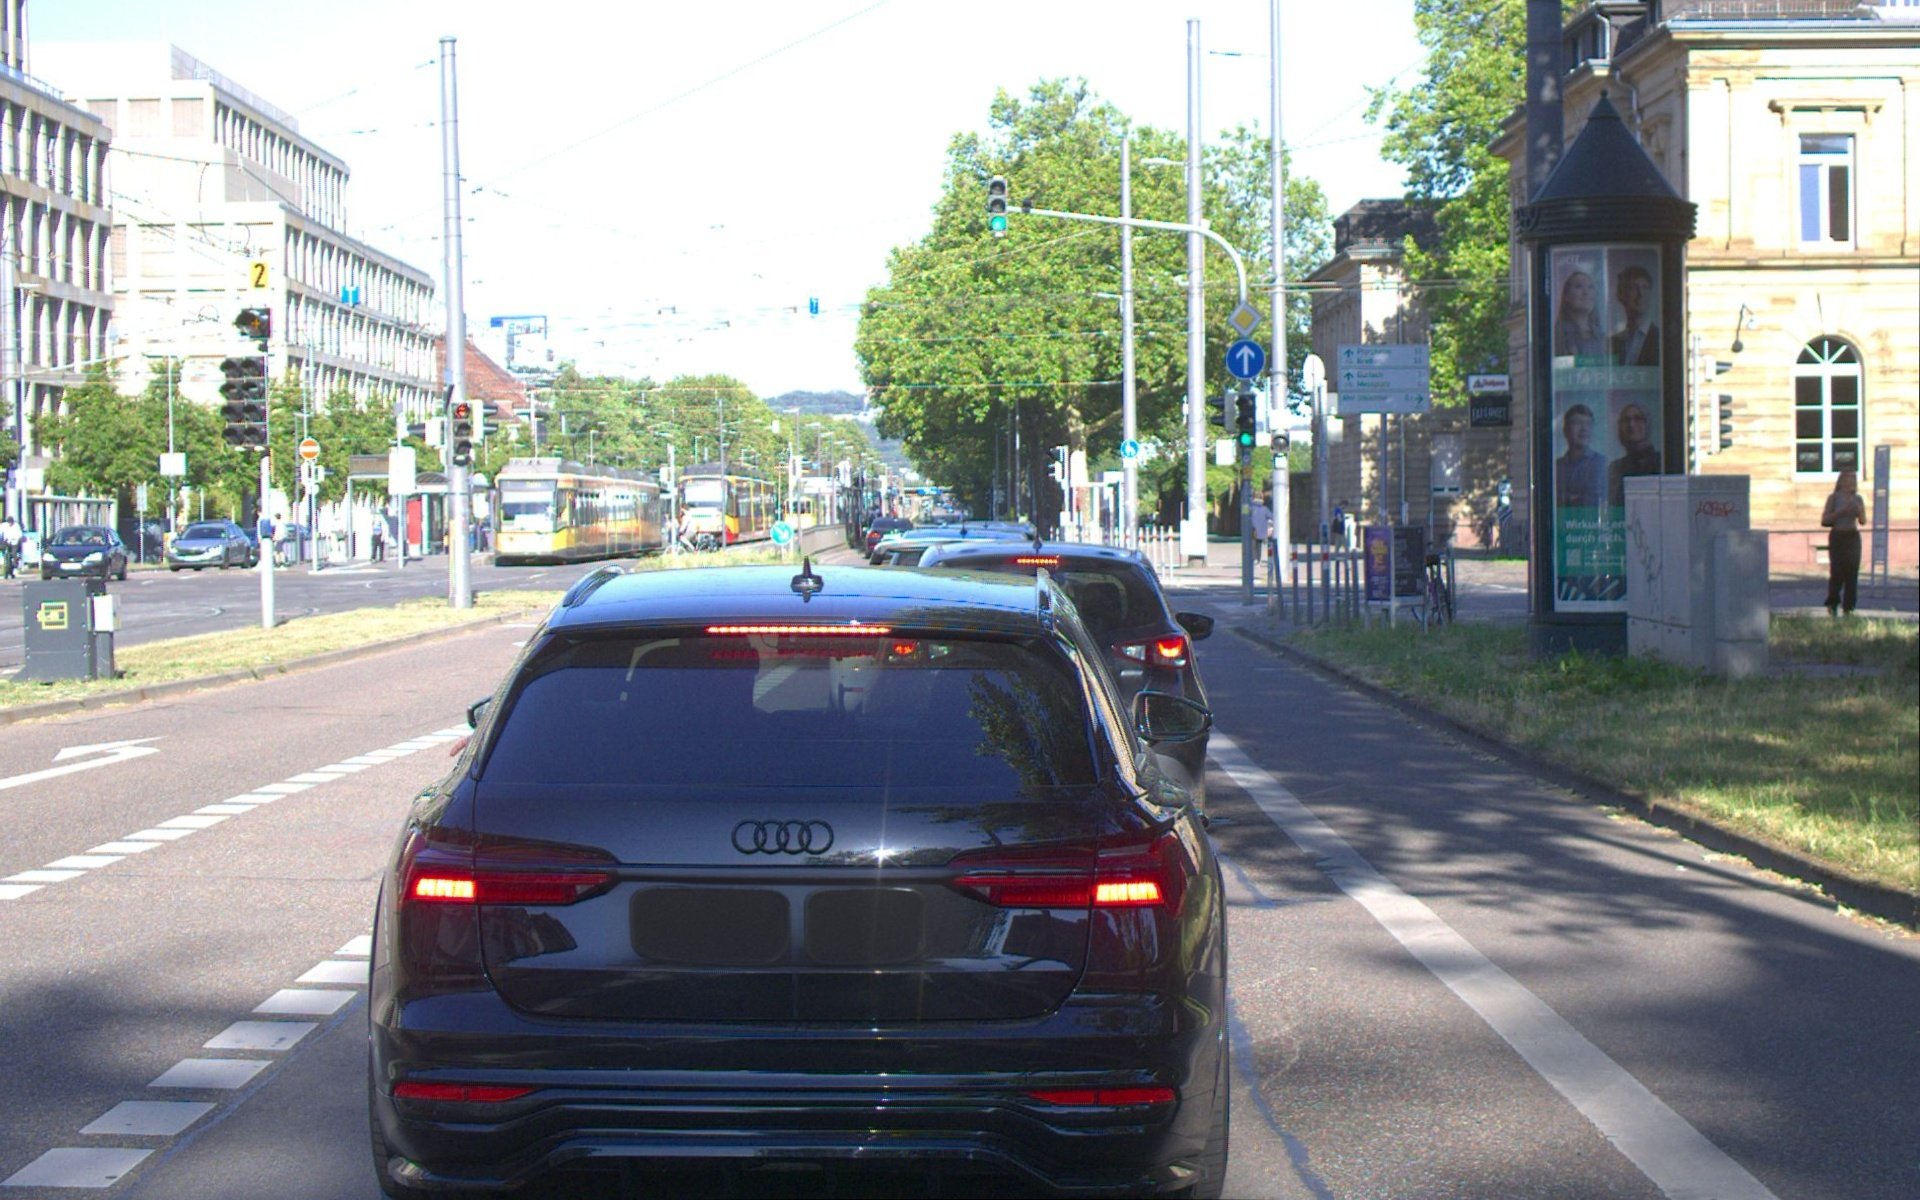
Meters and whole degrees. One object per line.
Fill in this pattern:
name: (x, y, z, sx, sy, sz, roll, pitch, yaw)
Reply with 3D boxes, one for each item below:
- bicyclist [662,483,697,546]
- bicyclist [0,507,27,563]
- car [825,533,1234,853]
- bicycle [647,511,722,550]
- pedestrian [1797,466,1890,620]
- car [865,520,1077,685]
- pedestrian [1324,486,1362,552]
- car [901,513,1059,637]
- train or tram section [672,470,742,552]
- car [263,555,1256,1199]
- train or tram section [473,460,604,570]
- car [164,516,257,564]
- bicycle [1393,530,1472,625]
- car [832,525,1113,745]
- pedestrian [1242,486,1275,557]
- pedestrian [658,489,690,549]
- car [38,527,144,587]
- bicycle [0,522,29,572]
bicyclist: (-8.069, -2.463, 98.931, 0.756, 1.812, 0.765, -2, 2, -25)
bicyclist: (-26.685, -1.820, 96.571, 0.685, 1.557, 0.785, -1, 1, 1)
car: (0.331, 0.400, 18.154, 1.902, 1.481, 4.145, 1, 1, 0)
bicycle: (-7.934, -2.005, 99.026, 2.005, 1.104, 0.765, -2, 2, -25)
pedestrian: (9.927, -0.646, 38.658, 0.769, 1.703, 1.042, -1, 1, 1)
car: (0.108, -0.012, 33.154, 1.902, 1.481, 4.145, 1, 1, 0)
pedestrian: (11.011, -2.334, 98.802, 0.979, 1.859, 0.827, -1, 1, -1)
car: (0.247, -0.339, 43.796, 1.902, 1.481, 4.145, 1, 1, 0)
train or tram section: (-11.115, -3.950, 151.606, 2.608, 3.439, 11.134, -1, 2, -2)
car: (-0.382, 0.611, 8.691, 1.902, 1.417, 4.145, 1, 1, 0)
train or tram section: (-14.136, -2.891, 116.323, 2.813, 3.477, 13.205, -1, 2, 0)
car: (-23.543, -1.902, 108.147, 1.820, 1.452, 4.541, -1, 1, 1)
bicycle: (5.456, -0.276, 39.760, 0.540, 1.058, 1.772, -1, 2, -4)
car: (0.091, 0.204, 25.474, 1.902, 1.481, 4.145, 1, 1, 0)
pedestrian: (7.098, -1.865, 81.668, 0.682, 1.655, 0.758, -1, 1, -2)
pedestrian: (-8.357, -2.363, 100.470, 0.739, 1.735, 0.664, -1, 2, -21)
car: (-22.376, -1.135, 88.623, 1.820, 1.452, 4.166, -1, 1, -3)
bicycle: (-26.750, -1.495, 96.474, 0.685, 1.377, 1.947, -1, 1, 1)
